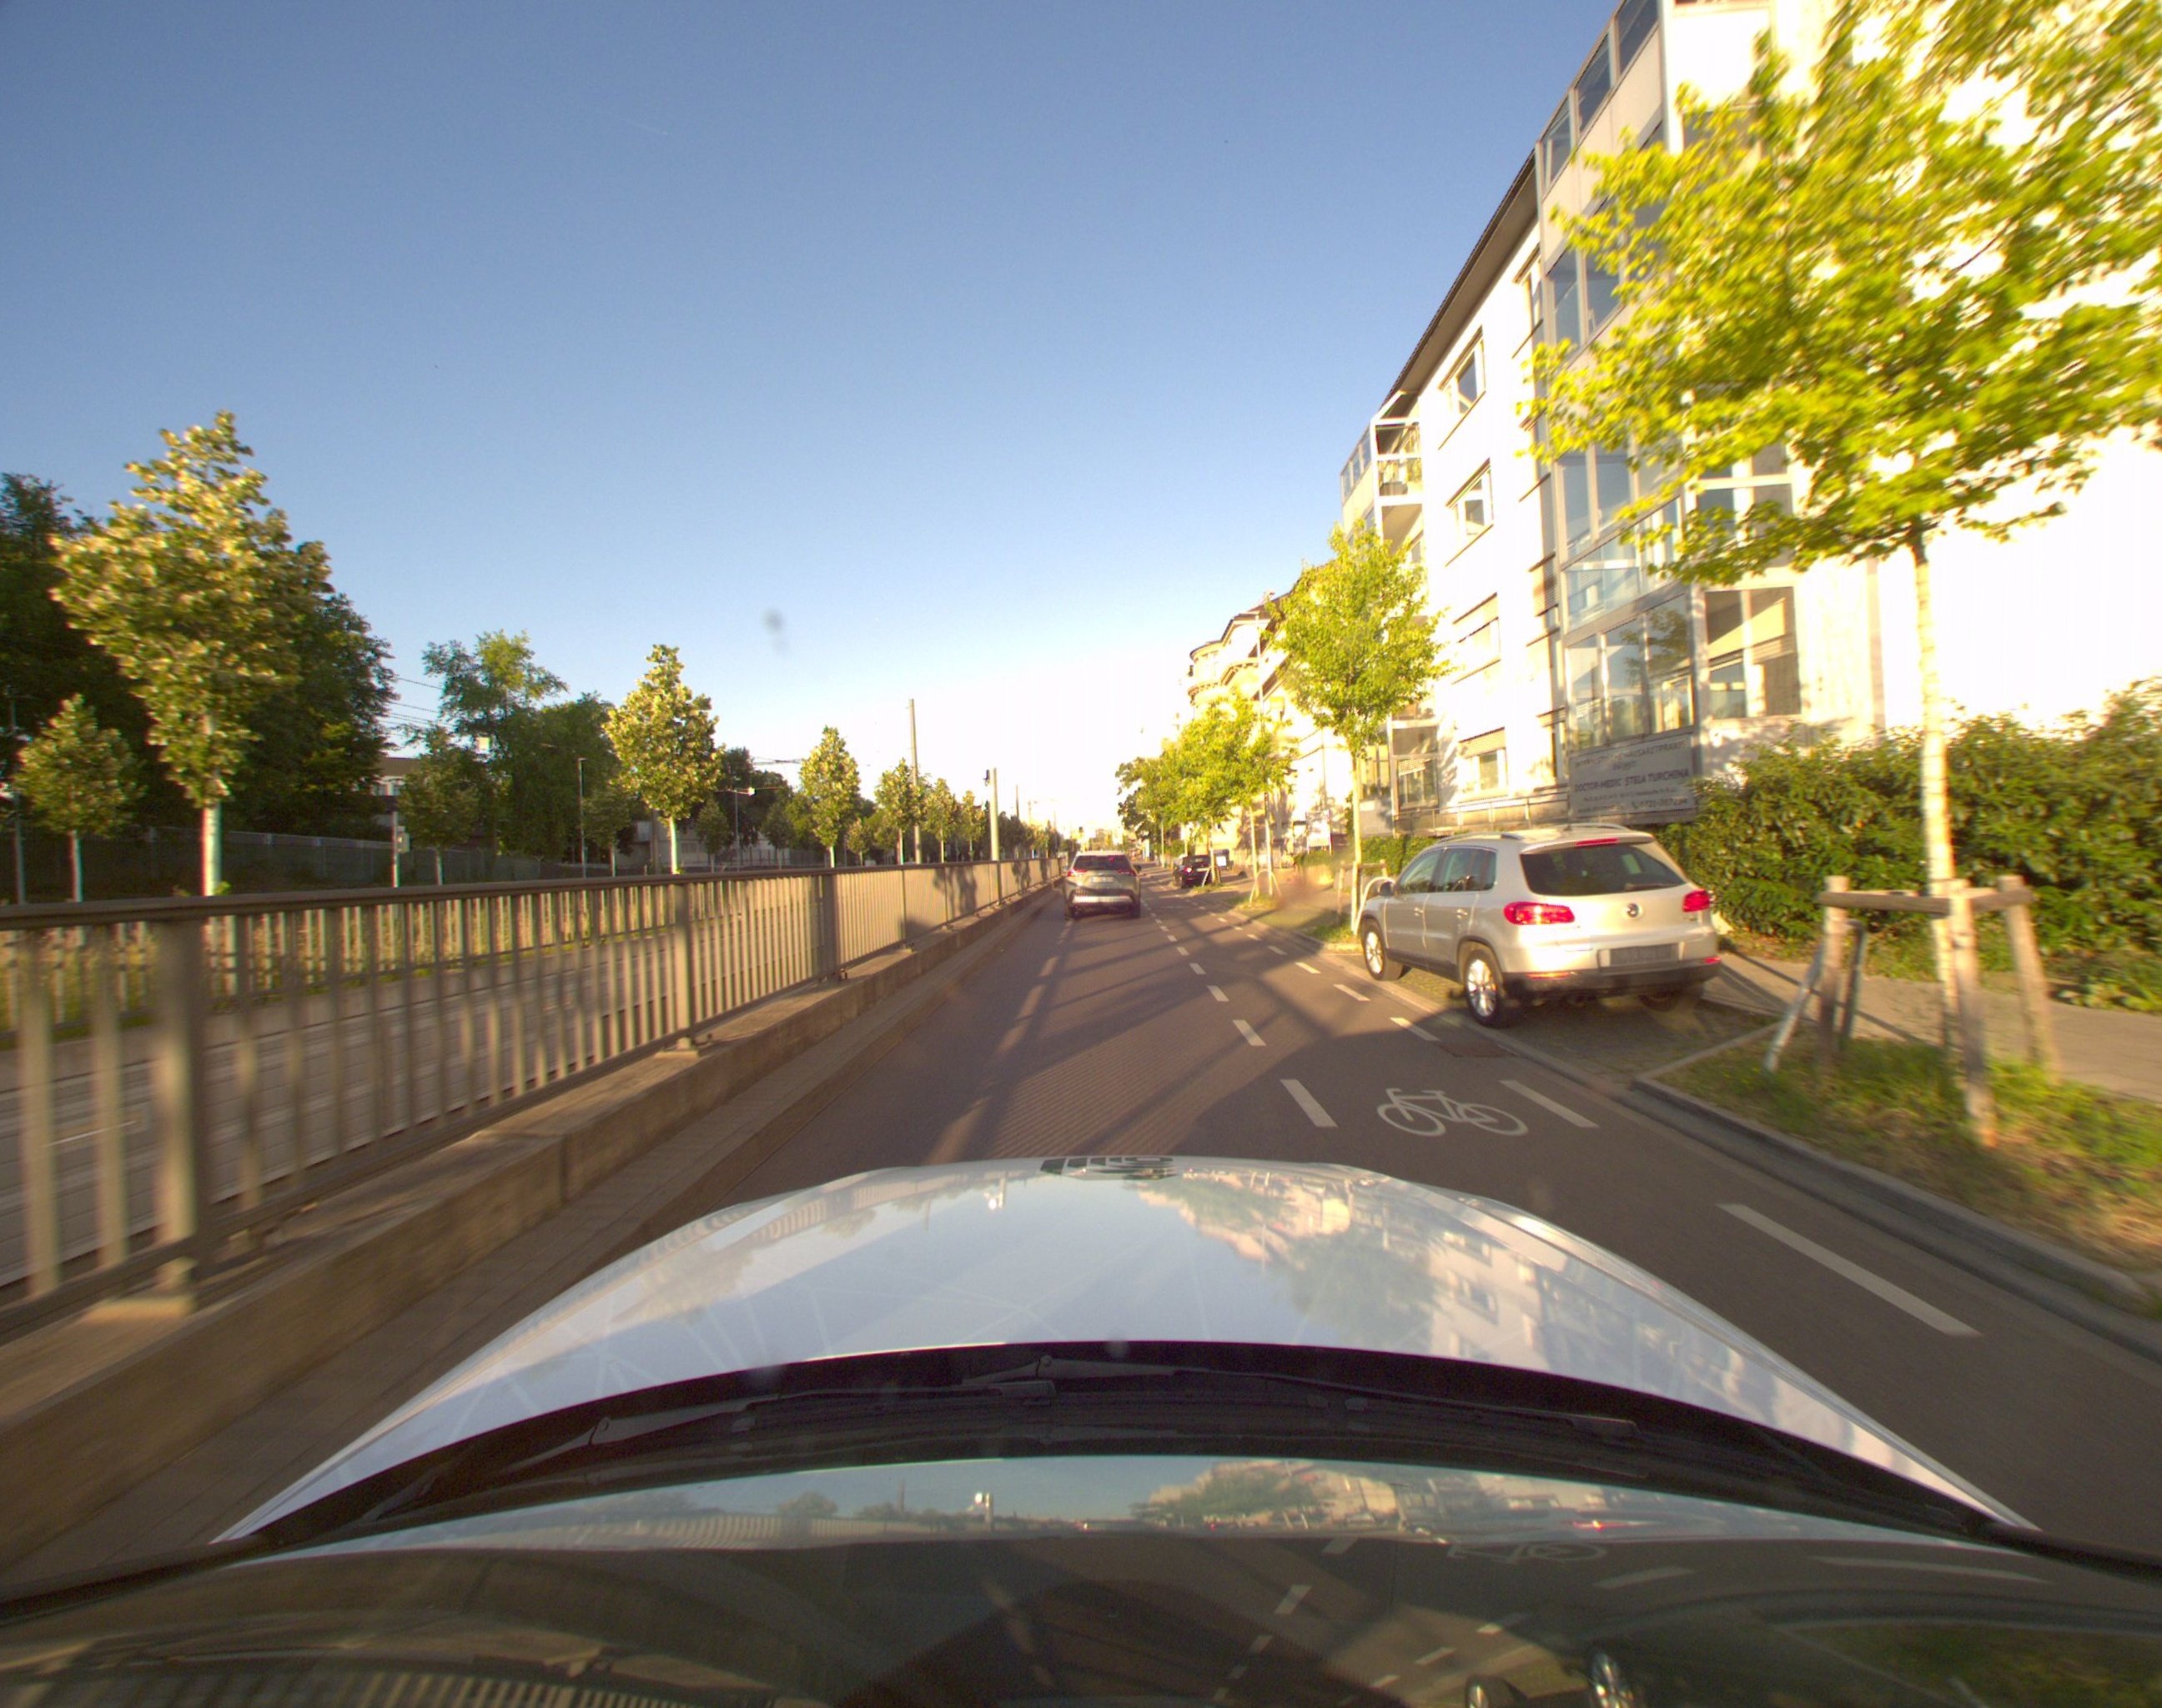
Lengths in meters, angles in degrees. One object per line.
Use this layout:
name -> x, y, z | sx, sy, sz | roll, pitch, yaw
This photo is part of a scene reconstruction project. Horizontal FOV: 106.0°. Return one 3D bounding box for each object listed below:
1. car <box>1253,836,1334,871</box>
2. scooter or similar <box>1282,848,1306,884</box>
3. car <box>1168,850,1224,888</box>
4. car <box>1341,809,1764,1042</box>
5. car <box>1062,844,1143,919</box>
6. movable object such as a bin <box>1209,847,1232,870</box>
car -> 12.293, -0.009, 47.296 | 4.177, 1.570, 1.918 | -6, 0, 4
scooter or similar -> 7.686, 0.435, 29.453 | 0.489, 1.258, 1.207 | -1, -1, -2
car -> 5.219, 0.648, 37.586 | 1.787, 1.471, 4.443 | -5, 0, -1
car -> 4.309, 0.540, 8.388 | 1.848, 1.706, 4.253 | -2, 0, 0
car -> 0.504, 0.650, 21.071 | 1.852, 1.714, 4.191 | -1, 0, 0
movable object such as a bin -> 9.143, 0.297, 53.483 | 1.256, 1.462, 1.123 | -2, 0, -2
